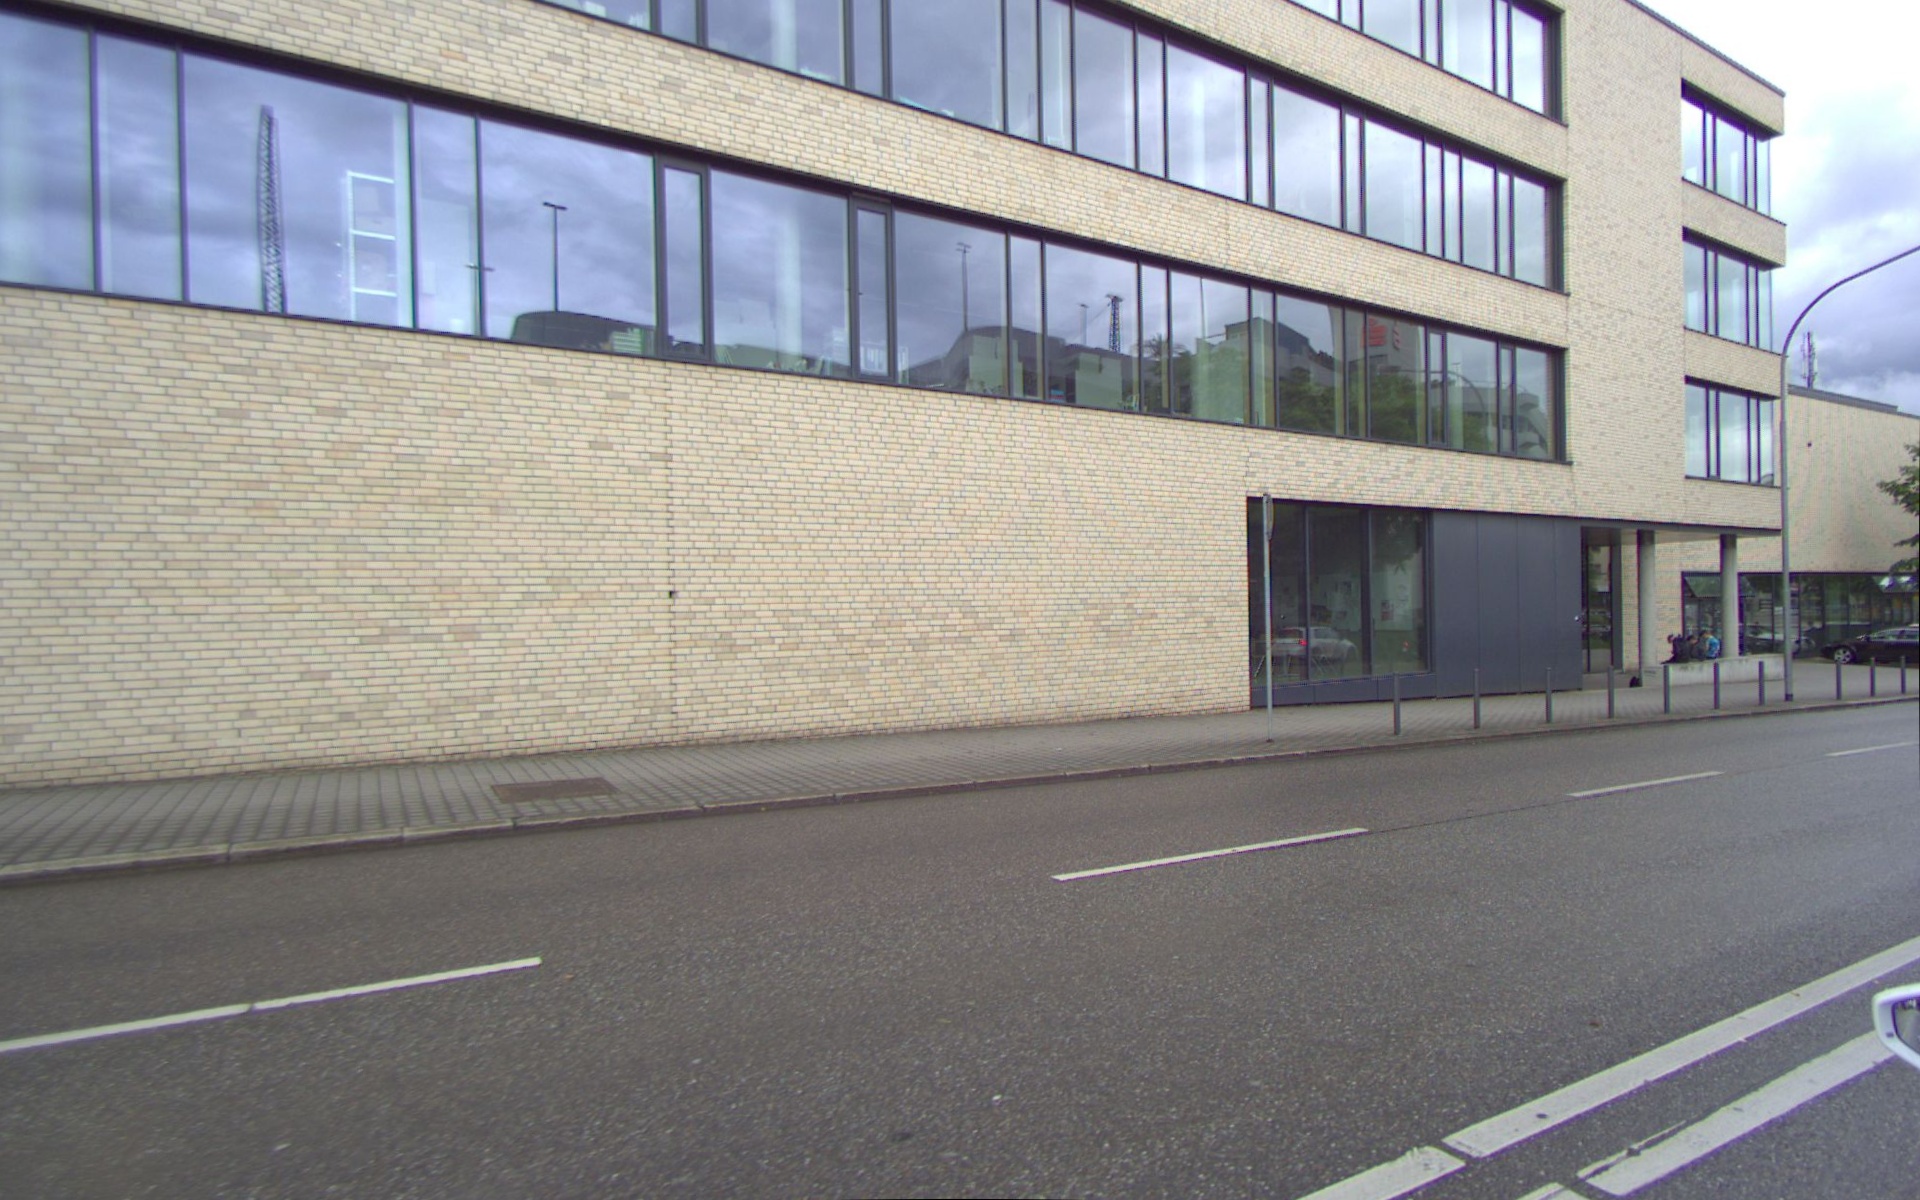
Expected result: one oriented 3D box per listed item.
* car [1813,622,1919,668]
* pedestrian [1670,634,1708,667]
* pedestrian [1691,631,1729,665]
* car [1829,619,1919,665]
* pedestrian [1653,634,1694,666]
[{"bbox_3d":[34.751,1.659,37.250,1.980,1.608,4.438,1,0,-35],"label":"car"},{"bbox_3d":[19.579,1.351,26.988,0.719,0.856,0.584,2,-1,-29],"label":"pedestrian"},{"bbox_3d":[20.672,1.327,27.692,0.518,0.897,0.678,2,0,-29],"label":"pedestrian"},{"bbox_3d":[36.450,1.601,38.505,1.979,1.595,4.388,-1,1,-34],"label":"car"},{"bbox_3d":[18.908,1.322,26.617,0.751,0.796,0.595,2,0,-29],"label":"pedestrian"}]
